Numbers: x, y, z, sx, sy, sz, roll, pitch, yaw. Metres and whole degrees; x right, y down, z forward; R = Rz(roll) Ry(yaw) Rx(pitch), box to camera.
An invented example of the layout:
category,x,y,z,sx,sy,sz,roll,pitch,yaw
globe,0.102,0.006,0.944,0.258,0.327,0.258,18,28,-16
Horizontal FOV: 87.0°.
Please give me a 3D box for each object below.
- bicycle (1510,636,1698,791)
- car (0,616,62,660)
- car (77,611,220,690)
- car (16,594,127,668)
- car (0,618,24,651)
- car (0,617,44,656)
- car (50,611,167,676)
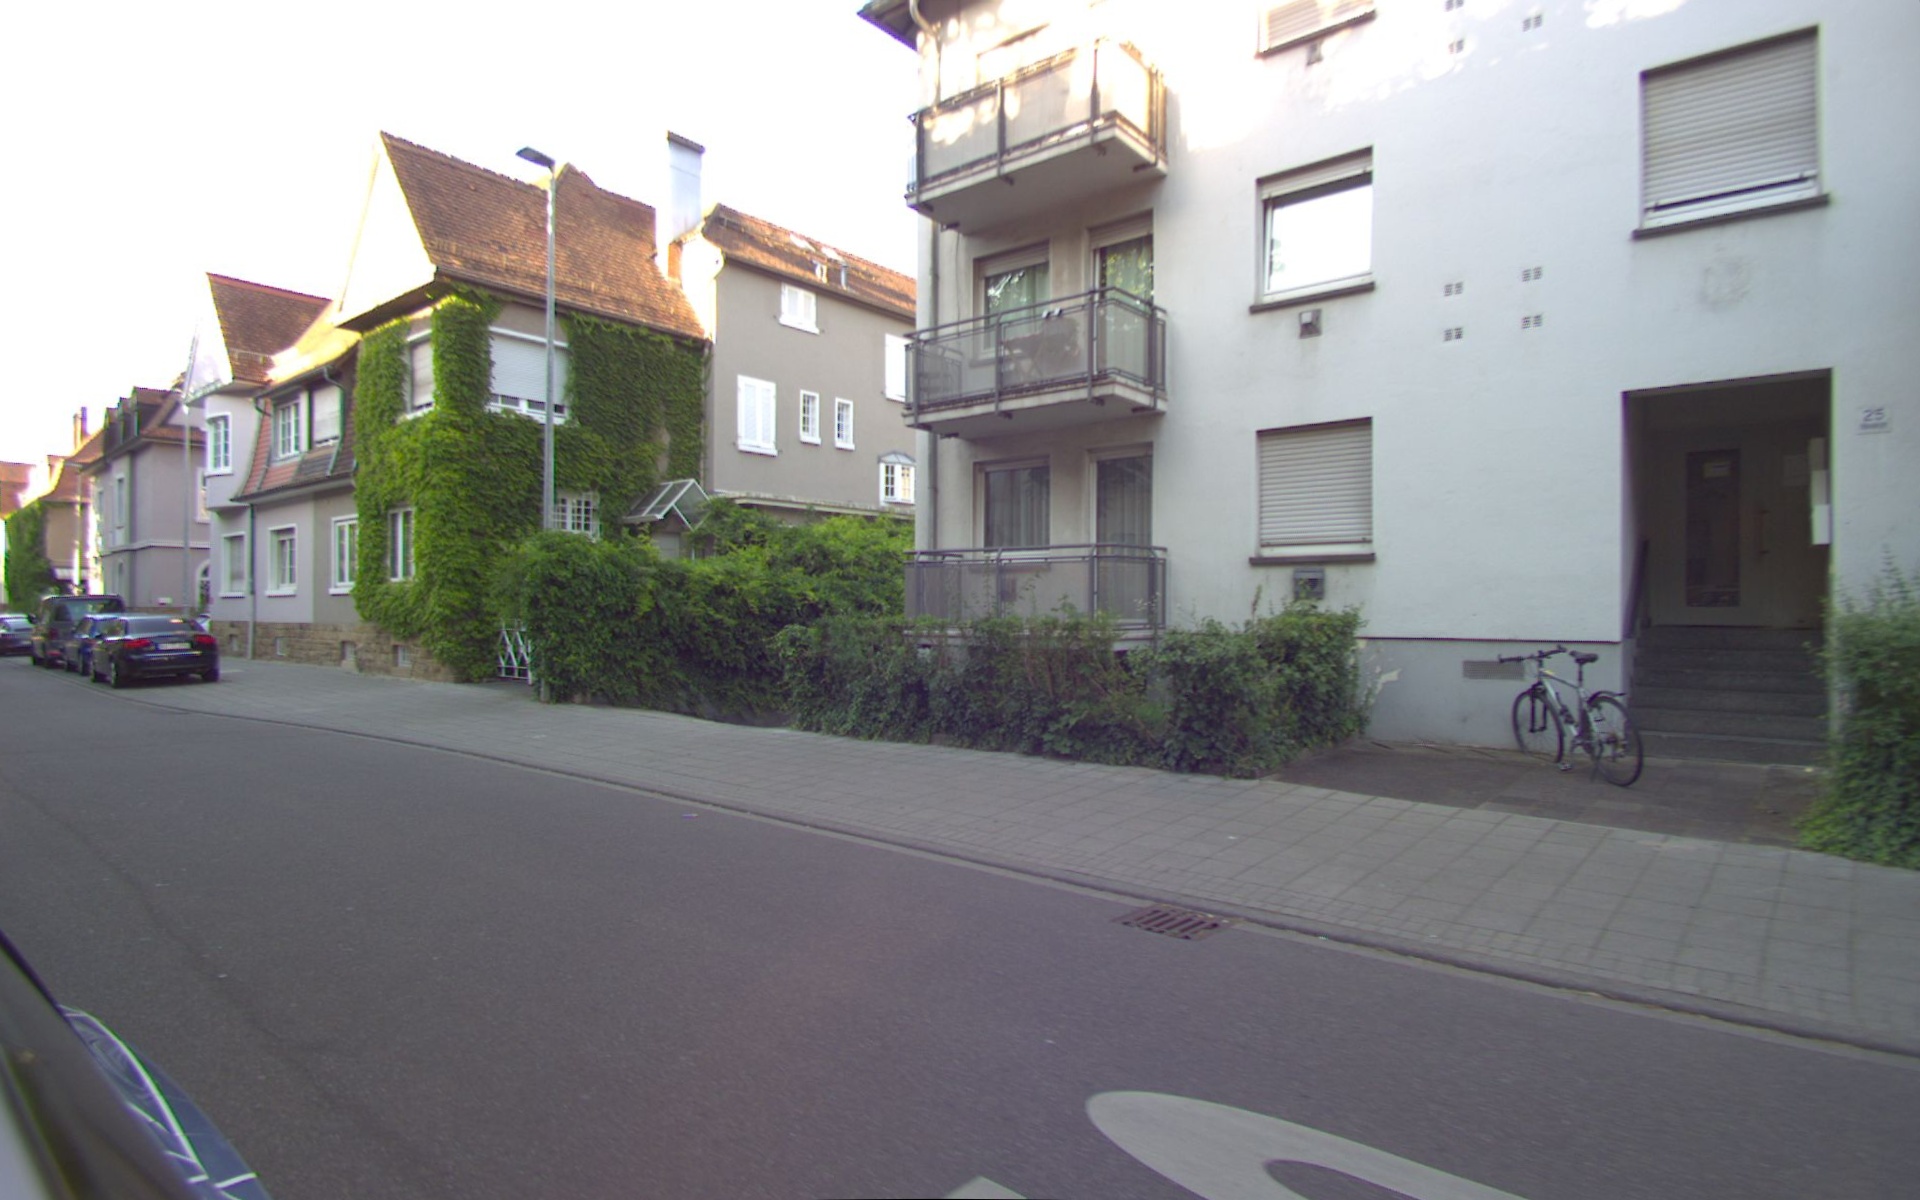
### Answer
category,x,y,z,sx,sy,sz,roll,pitch,yaw
bicycle,5.095,0.850,8.128,0.470,1.027,1.608,0,1,0
car,-33.754,1.336,36.273,4.287,1.438,1.797,-1,0,41
car,-17.099,1.002,21.258,3.998,1.465,1.671,-1,0,41
car,-25.170,0.851,28.633,4.287,1.920,1.797,-1,0,41
car,-43.906,1.560,45.799,4.287,1.438,1.797,-1,0,41
car,-37.940,1.425,40.214,4.287,1.438,1.797,-1,0,41
car,-21.555,1.052,25.571,3.998,1.465,1.671,-1,0,41
